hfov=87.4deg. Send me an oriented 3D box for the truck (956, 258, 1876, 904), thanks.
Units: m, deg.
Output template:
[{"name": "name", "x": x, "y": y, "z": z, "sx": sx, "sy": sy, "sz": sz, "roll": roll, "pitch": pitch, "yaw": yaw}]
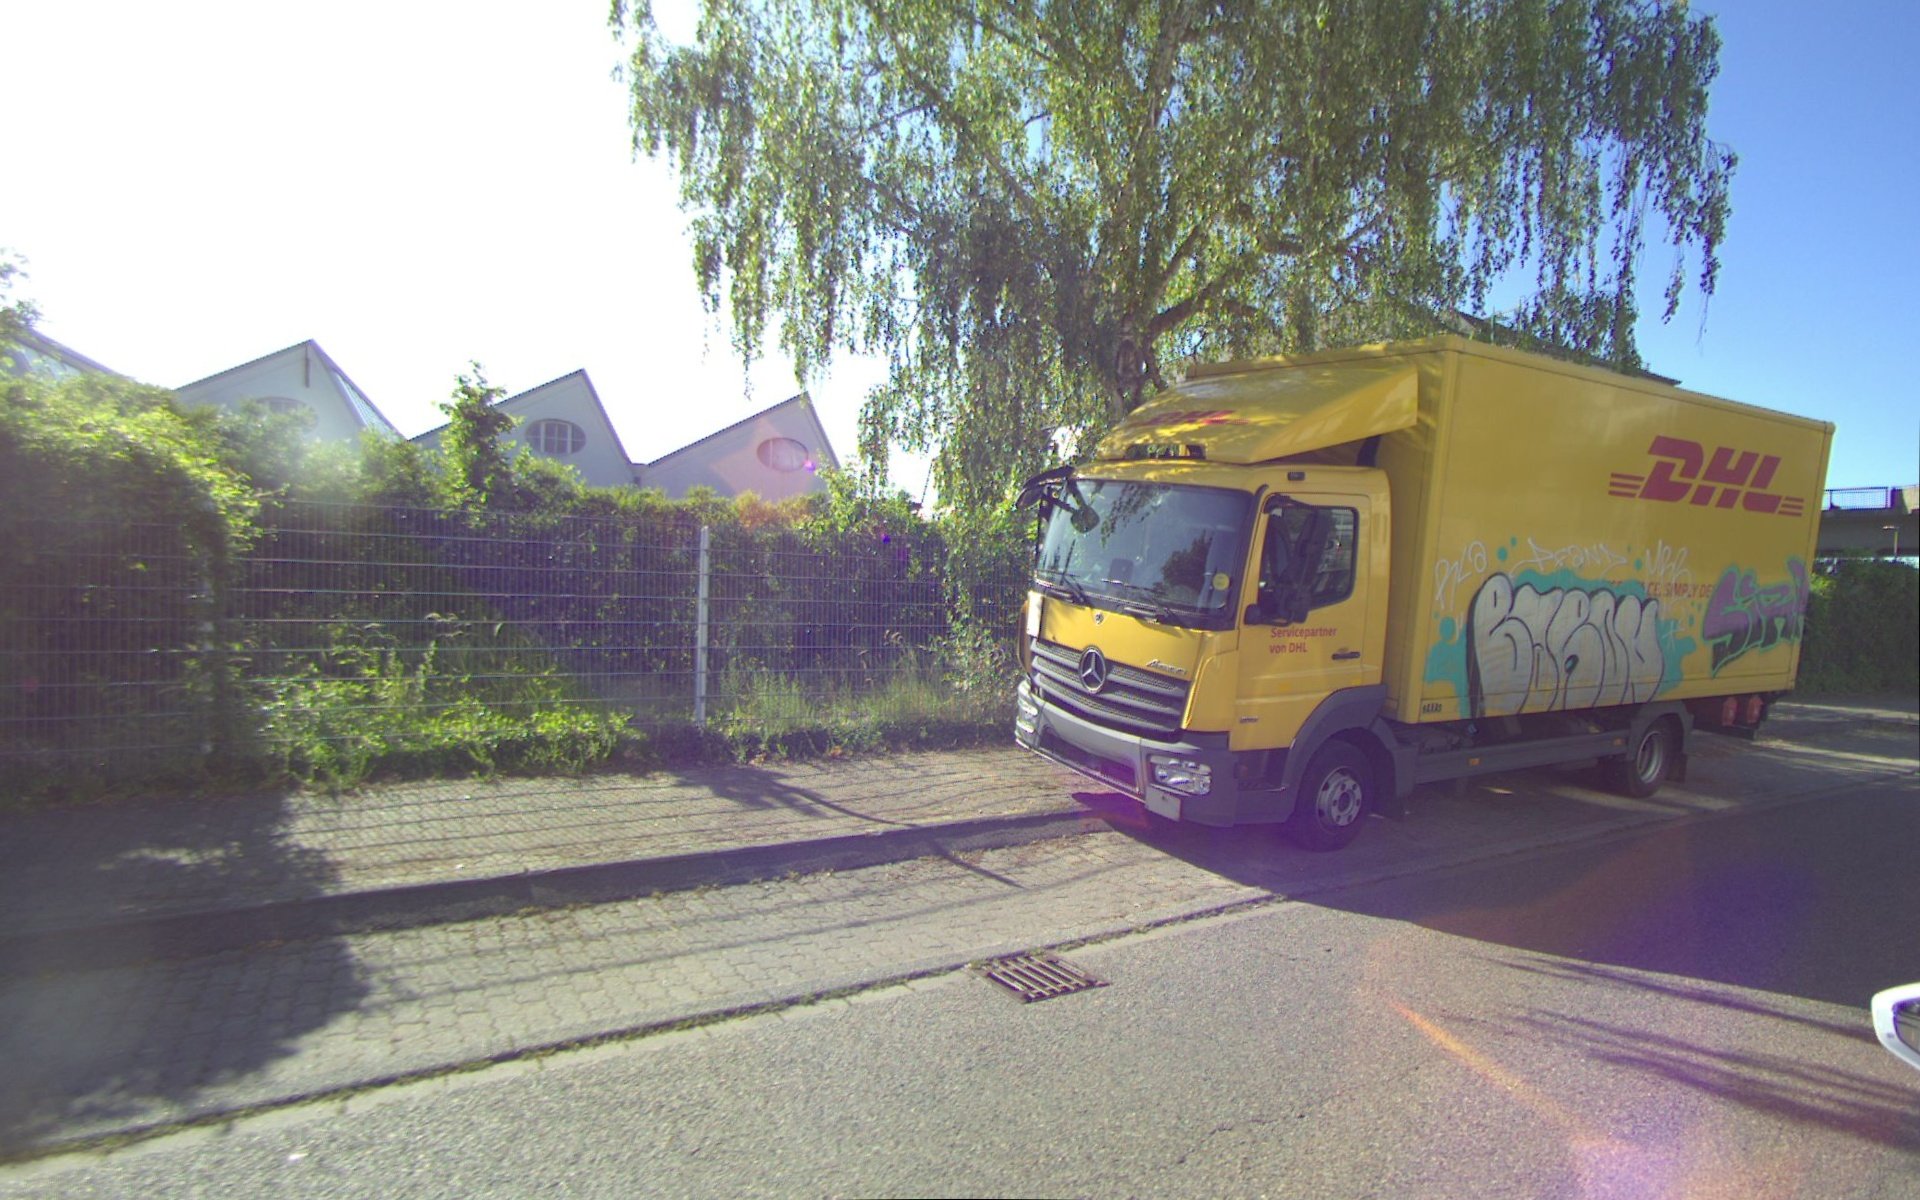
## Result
[{"name": "truck", "x": 4.395, "y": -0.181, "z": 8.808, "sx": 8.554, "sy": 3.553, "sz": 2.618, "roll": 0, "pitch": 7, "yaw": -30}]
